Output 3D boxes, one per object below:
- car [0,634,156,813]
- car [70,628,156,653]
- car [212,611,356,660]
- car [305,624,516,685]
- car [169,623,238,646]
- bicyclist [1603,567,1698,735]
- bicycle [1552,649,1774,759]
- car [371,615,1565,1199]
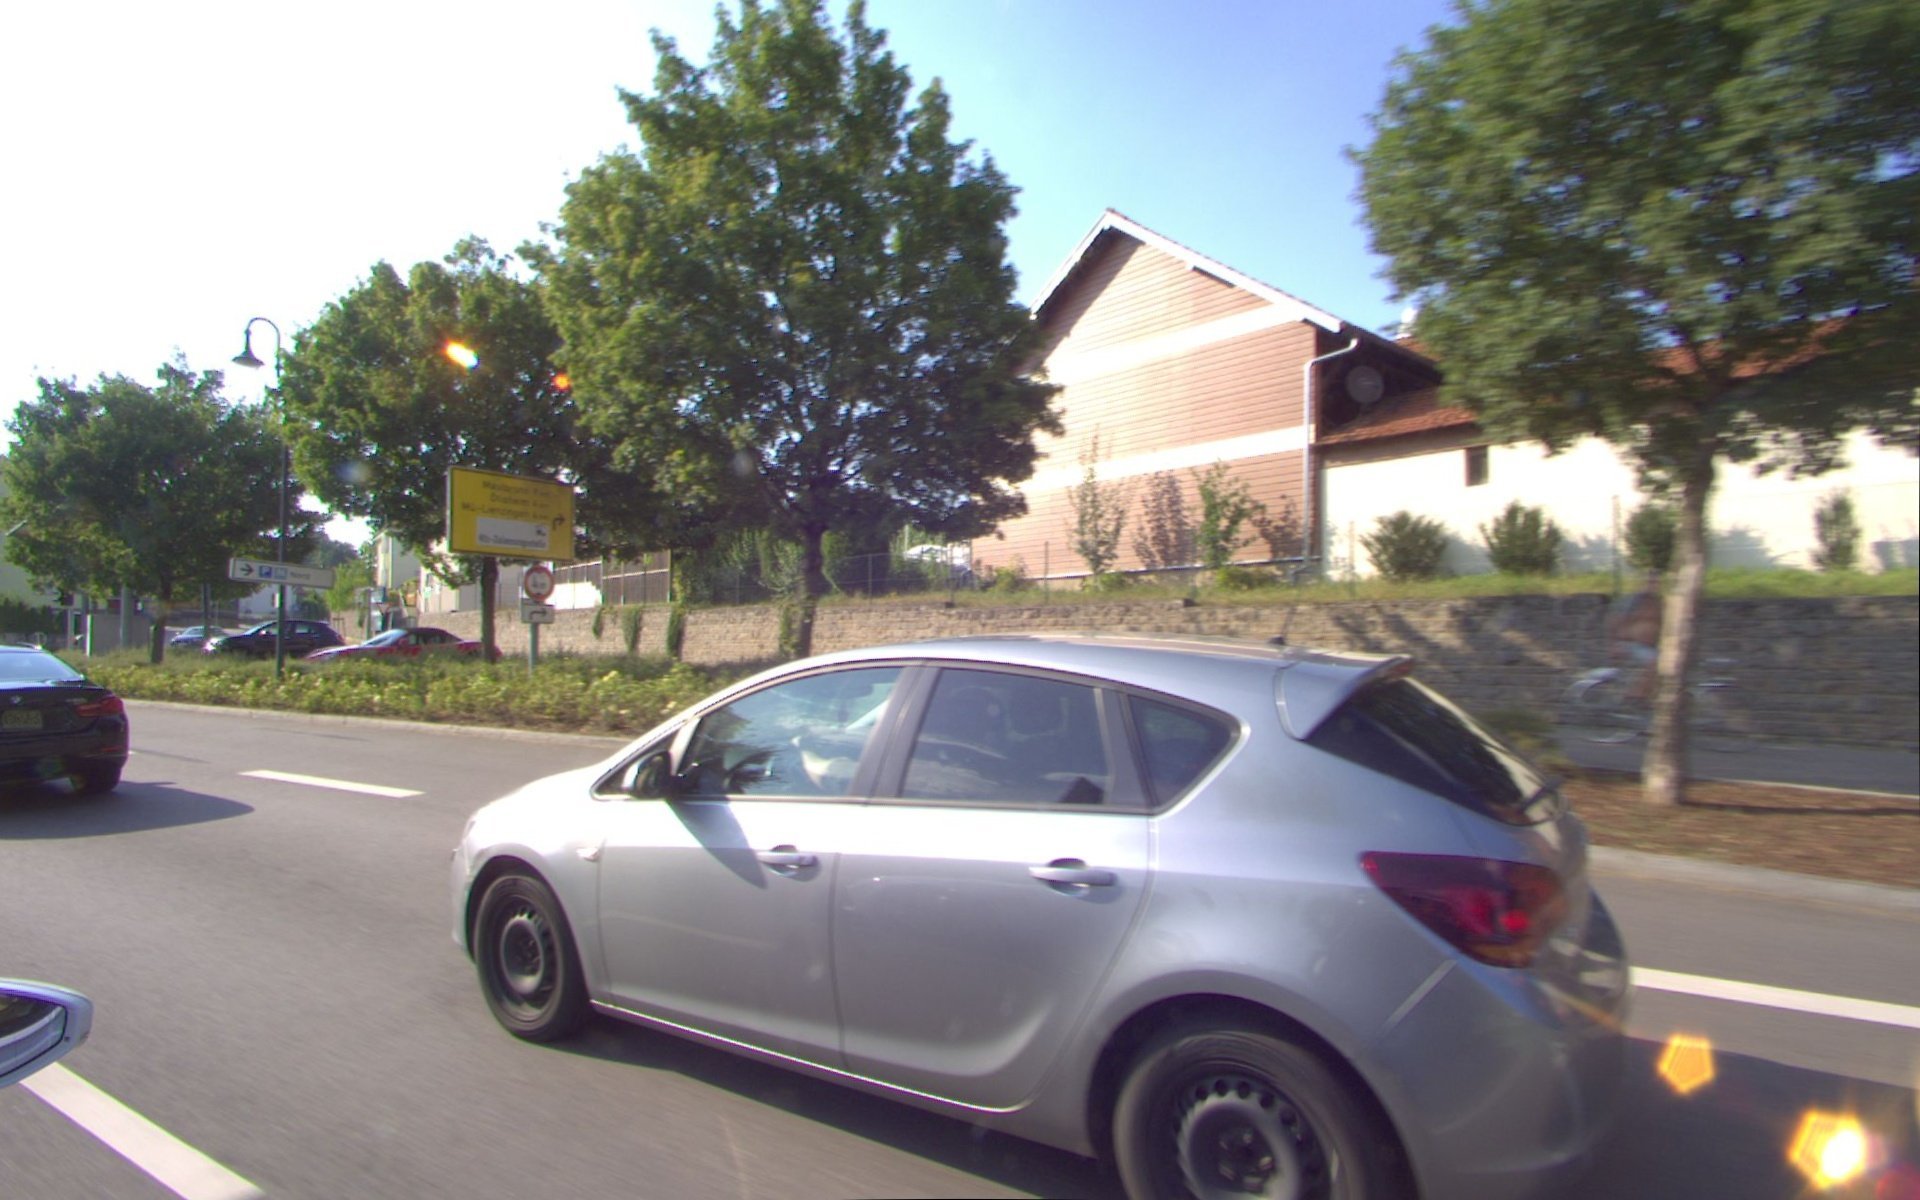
[{"bbox_3d":[-9.308,1.019,9.160,4.286,1.406,1.812,-1,-2,33],"label":"car"},{"bbox_3d":[-51.398,2.440,60.888,1.832,1.504,4.658,0,-2,-9],"label":"car"},{"bbox_3d":[-23.912,1.256,35.512,1.835,1.628,3.965,-1,-2,44],"label":"car"},{"bbox_3d":[-12.759,1.230,23.401,1.835,1.288,3.965,-1,-2,44],"label":"car"},{"bbox_3d":[-47.036,2.158,62.373,1.619,1.404,4.189,0,-2,-8],"label":"car"},{"bbox_3d":[7.289,0.529,10.569,0.726,1.700,0.599,-1,-1,44],"label":"bicyclist"},{"bbox_3d":[7.333,1.045,10.517,1.856,1.031,0.518,-2,-2,44],"label":"bicycle"},{"bbox_3d":[-0.208,0.817,3.674,4.109,1.460,1.740,-1,-2,33],"label":"car"}]
